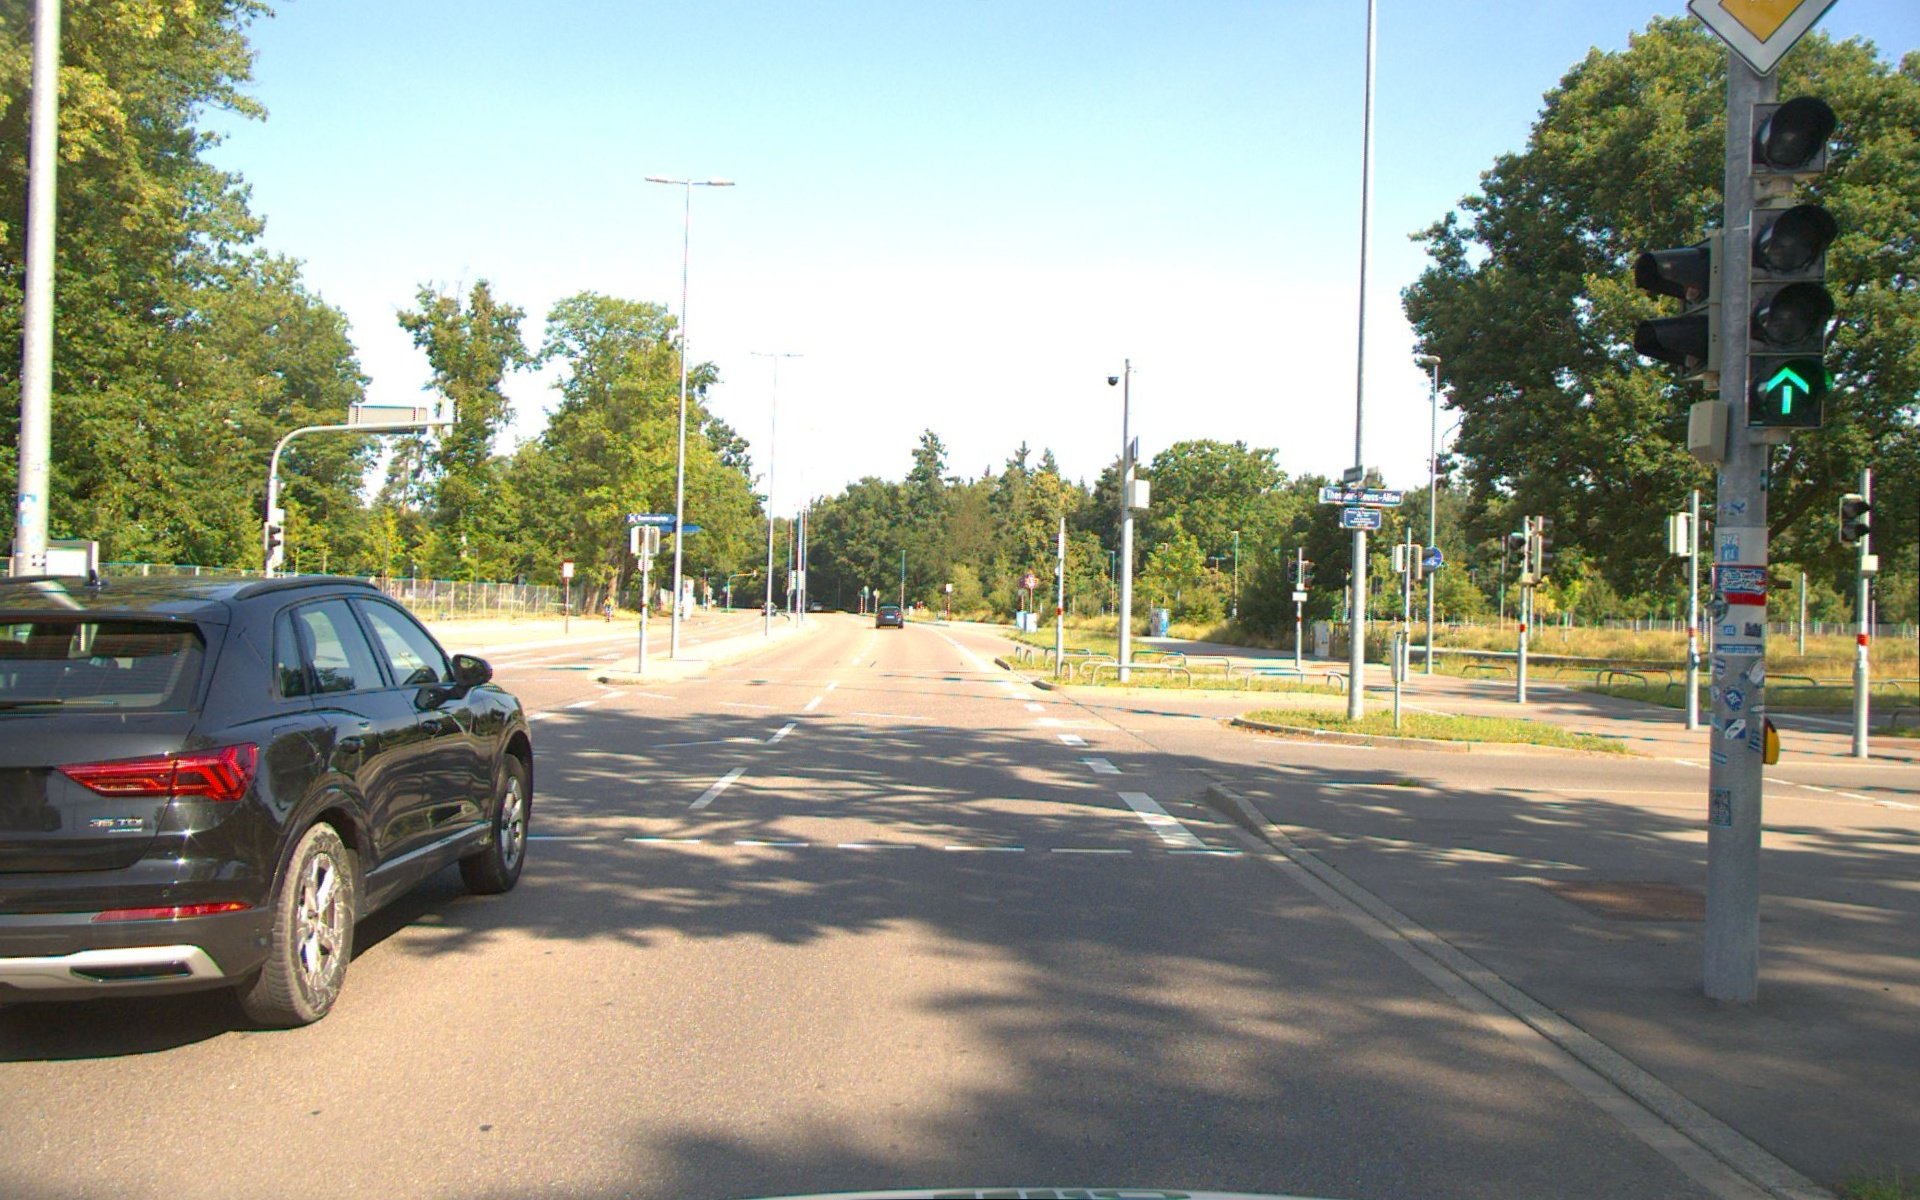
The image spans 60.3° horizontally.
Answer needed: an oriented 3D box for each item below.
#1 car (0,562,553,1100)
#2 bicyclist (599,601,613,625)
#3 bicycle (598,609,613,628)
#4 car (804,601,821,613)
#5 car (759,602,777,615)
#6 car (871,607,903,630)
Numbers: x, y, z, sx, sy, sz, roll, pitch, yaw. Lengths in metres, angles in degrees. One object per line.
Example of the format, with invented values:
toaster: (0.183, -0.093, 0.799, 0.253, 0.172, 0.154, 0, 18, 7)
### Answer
car: (-3.026, 0.675, 6.905, 1.653, 1.571, 4.148, 0, 0, -1)
bicyclist: (-22.094, 0.793, 103.273, 0.647, 1.493, 1.056, 3, 0, -4)
bicycle: (-22.128, 1.157, 103.269, 0.647, 1.155, 1.877, 3, 0, -4)
car: (-22.356, 1.132, 251.183, 1.960, 1.780, 3.985, 1, -1, -14)
car: (-23.292, 1.035, 200.744, 1.778, 1.412, 4.150, -1, 0, -11)
car: (-4.792, 1.184, 108.691, 1.903, 1.445, 4.288, 1, 0, -5)
